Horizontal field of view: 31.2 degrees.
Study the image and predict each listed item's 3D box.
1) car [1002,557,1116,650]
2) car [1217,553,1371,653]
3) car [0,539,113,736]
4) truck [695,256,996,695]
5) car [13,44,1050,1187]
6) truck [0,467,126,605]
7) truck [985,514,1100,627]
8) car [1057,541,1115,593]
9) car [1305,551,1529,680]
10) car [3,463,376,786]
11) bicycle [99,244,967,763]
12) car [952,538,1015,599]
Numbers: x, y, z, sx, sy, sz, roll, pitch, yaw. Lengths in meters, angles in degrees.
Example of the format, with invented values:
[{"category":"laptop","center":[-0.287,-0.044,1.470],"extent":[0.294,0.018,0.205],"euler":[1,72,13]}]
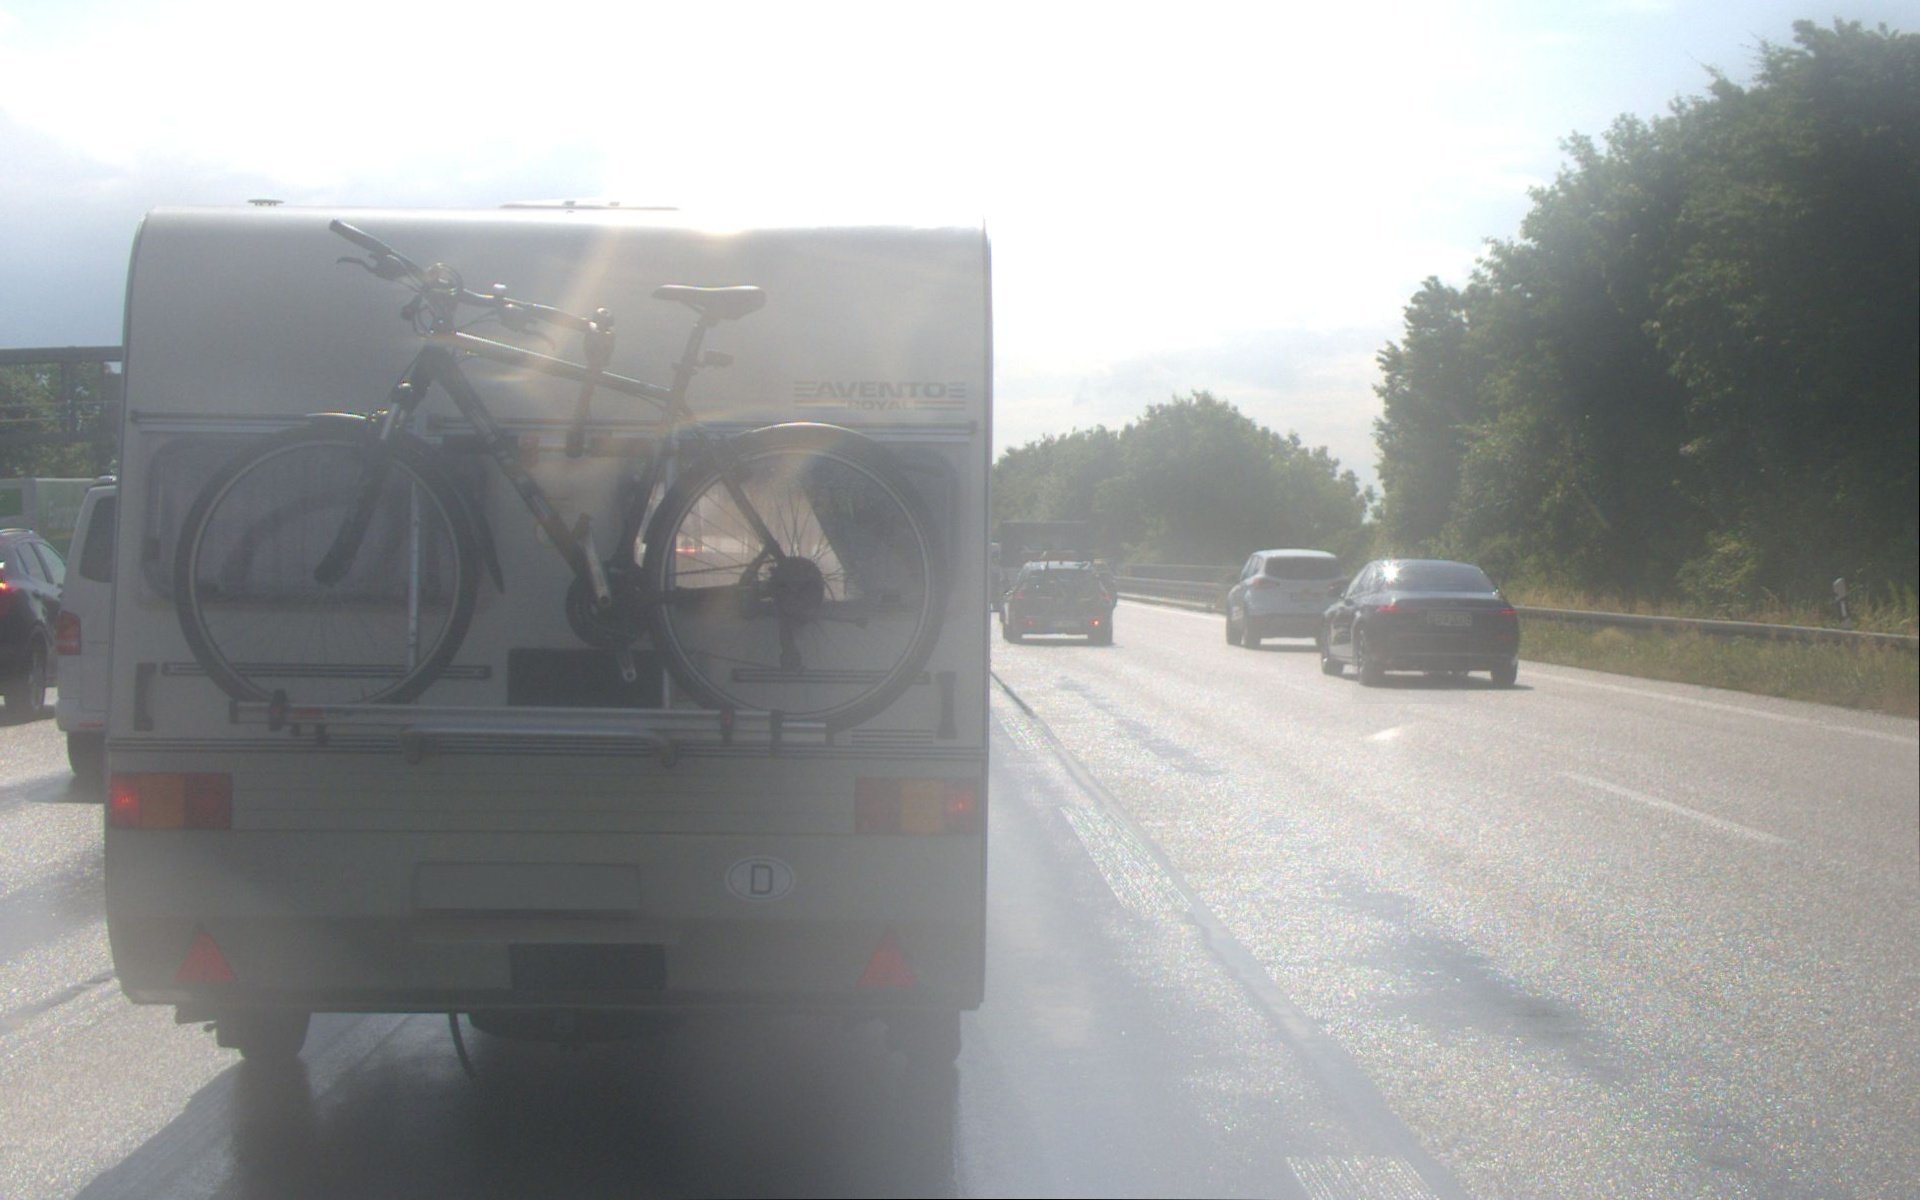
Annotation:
[{"category":"car","center":[1.715,0.041,60.721],"extent":[1.835,1.552,4.000],"euler":[1,1,0]},{"category":"car","center":[5.651,0.027,58.567],"extent":[1.876,1.623,4.001],"euler":[1,1,-5]},{"category":"car","center":[-8.881,0.286,30.874],"extent":[1.771,1.656,4.001],"euler":[1,1,-4]},{"category":"truck","center":[-1.413,-1.383,41.742],"extent":[3.146,4.610,10.737],"euler":[0,1,-2]},{"category":"car","center":[-1.028,0.020,10.122],"extent":[2.410,2.665,4.000],"euler":[1,0,0]},{"category":"truck","center":[-21.595,-1.445,78.981],"extent":[2.916,2.977,8.723],"euler":[1,1,-1]},{"category":"truck","center":[1.827,-0.695,78.189],"extent":[2.415,2.435,6.053],"euler":[1,1,0]},{"category":"car","center":[4.159,-1.100,114.179],"extent":[1.719,1.678,4.000],"euler":[1,1,0]},{"category":"car","center":[5.554,0.162,42.253],"extent":[1.876,1.489,4.001],"euler":[1,1,-5]},{"category":"car","center":[-5.182,0.135,23.620],"extent":[1.876,2.007,4.001],"euler":[1,0,-4]},{"category":"bicycle","center":[-0.961,-0.219,7.916],"extent":[1.933,1.137,0.384],"euler":[1,0,-1]},{"category":"car","center":[0.641,-0.909,97.754],"extent":[1.719,1.678,4.000],"euler":[1,1,0]}]
